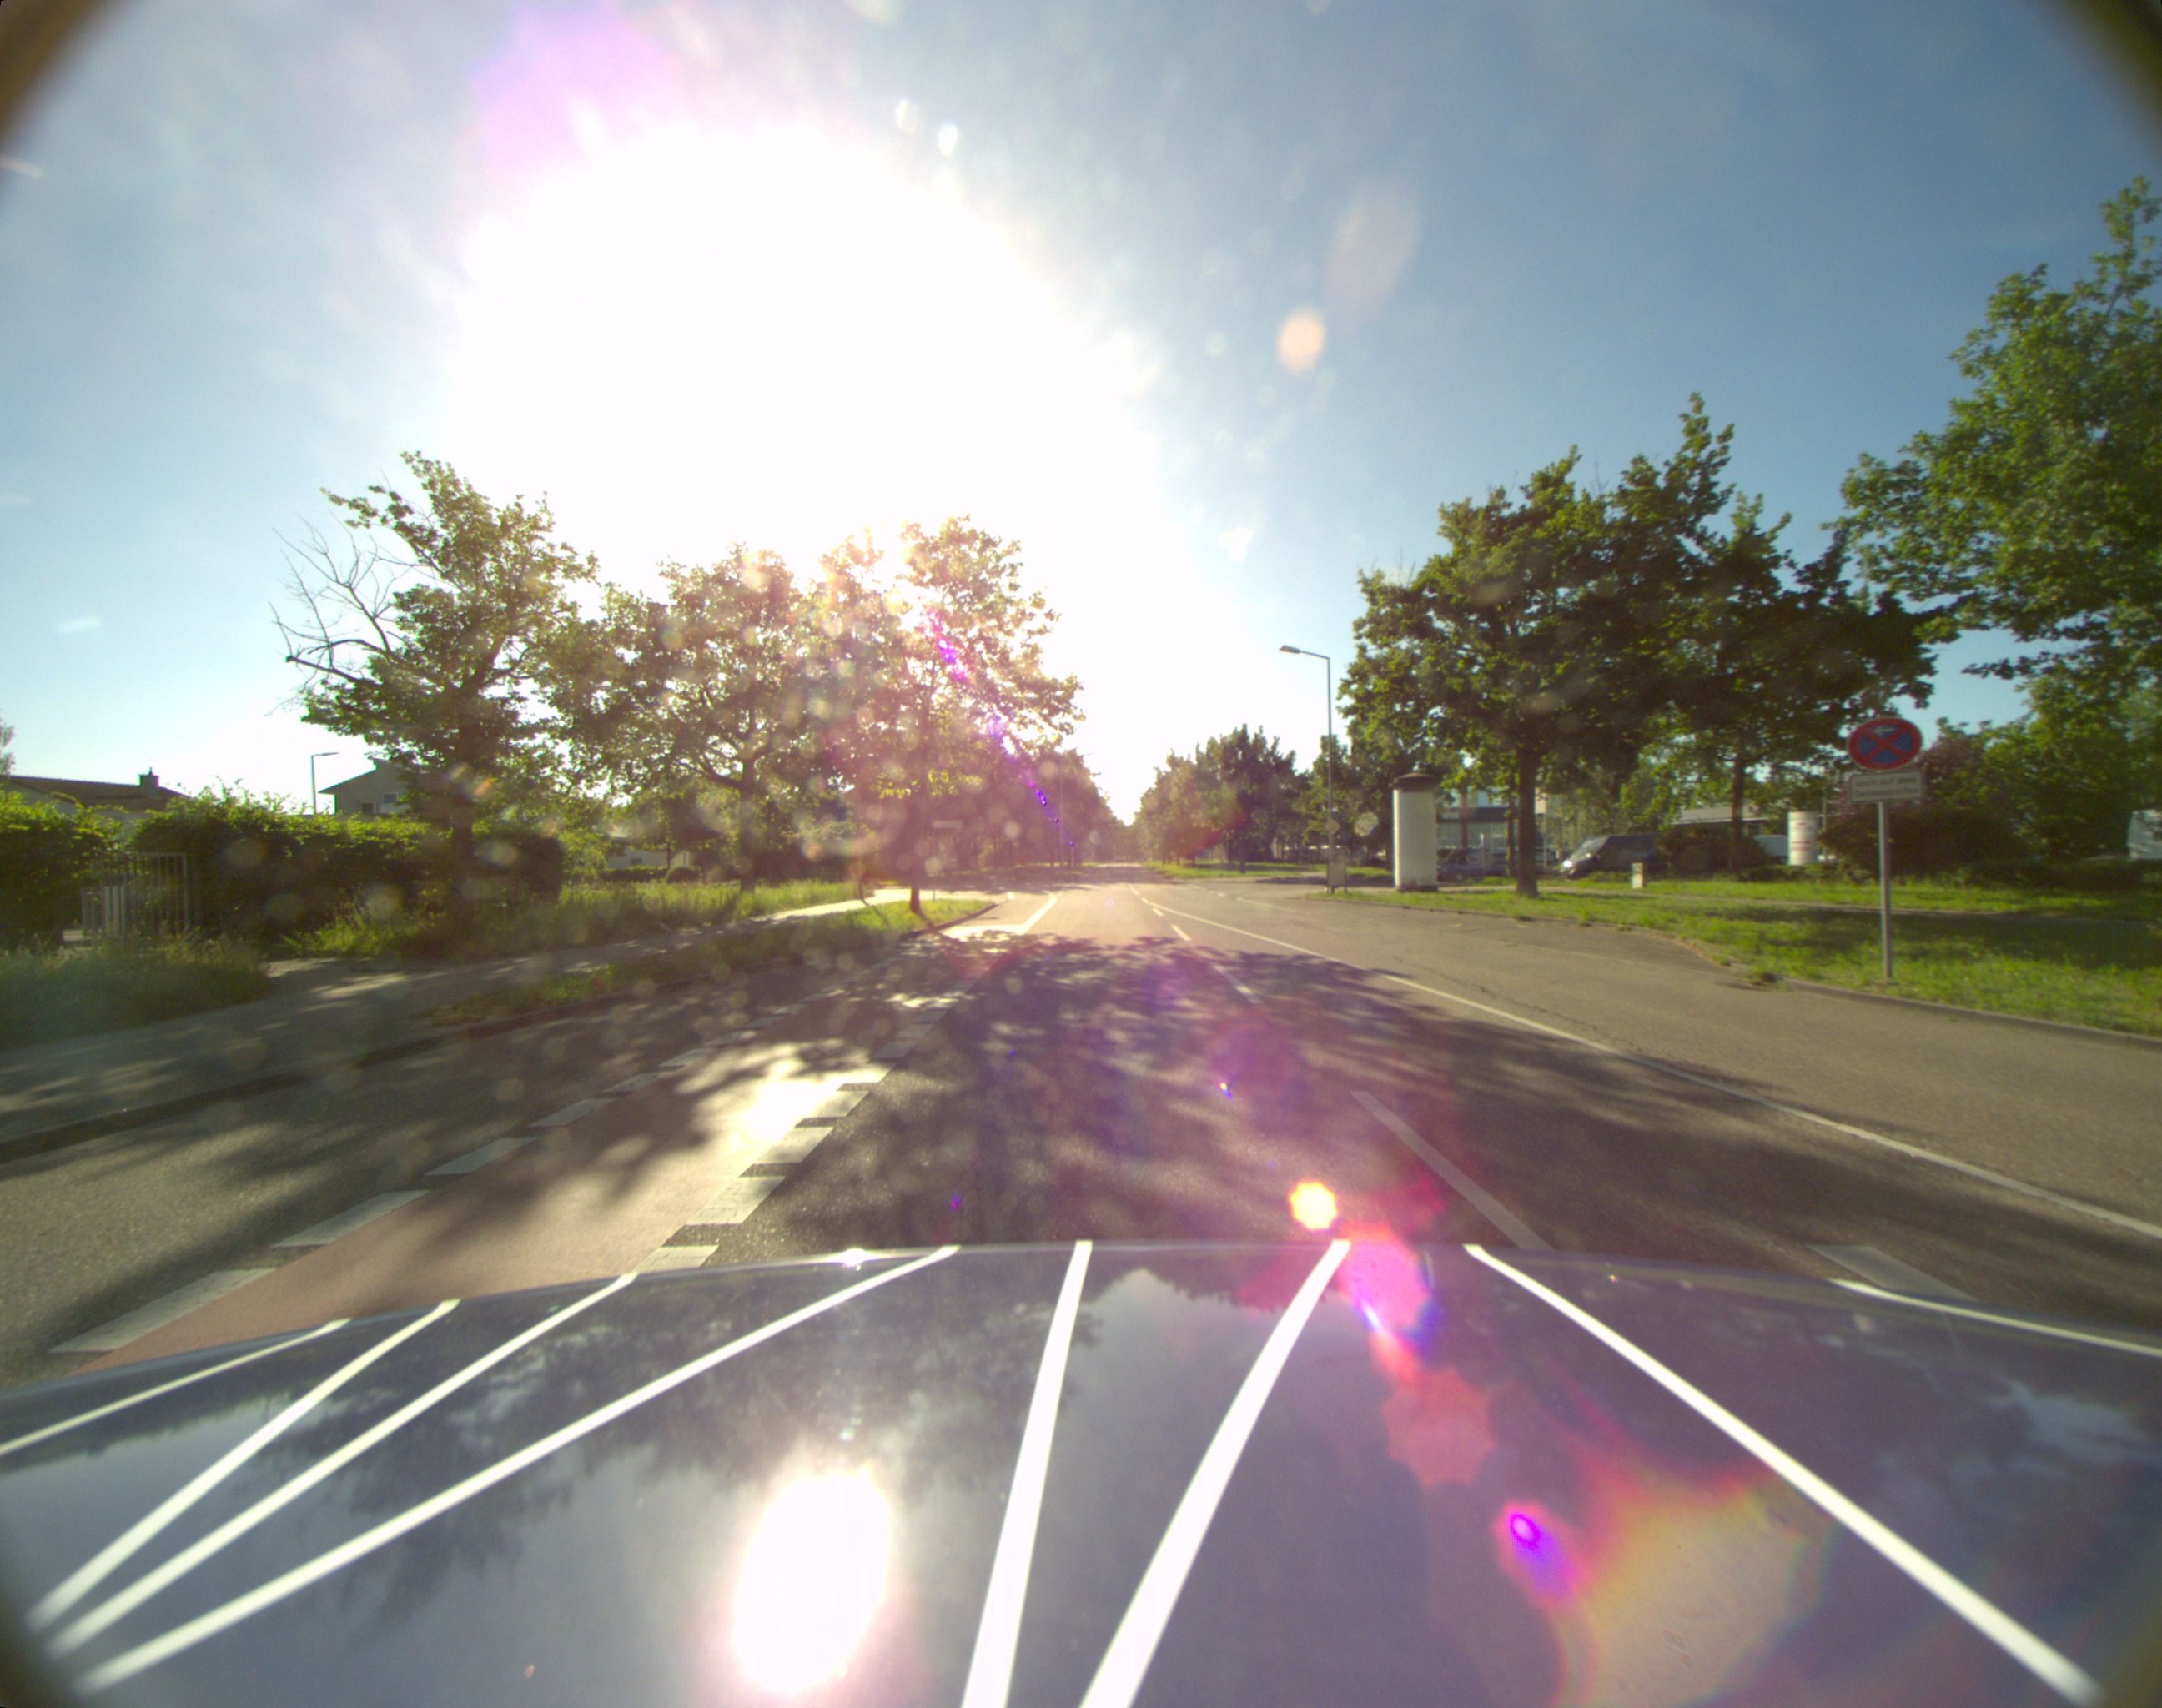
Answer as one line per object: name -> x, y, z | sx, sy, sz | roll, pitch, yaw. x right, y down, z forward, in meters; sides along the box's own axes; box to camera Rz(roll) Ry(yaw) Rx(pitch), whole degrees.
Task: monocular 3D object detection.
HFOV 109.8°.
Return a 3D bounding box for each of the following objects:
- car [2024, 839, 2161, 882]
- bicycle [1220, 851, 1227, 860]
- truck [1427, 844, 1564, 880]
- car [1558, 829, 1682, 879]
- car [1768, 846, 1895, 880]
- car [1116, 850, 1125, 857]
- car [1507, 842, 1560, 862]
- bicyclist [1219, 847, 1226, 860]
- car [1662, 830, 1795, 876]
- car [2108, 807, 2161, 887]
car -> 39.593, 0.226, 29.201 | 4.659, 1.542, 1.885 | -1, 0, -3
bicycle -> 18.116, 0.170, 96.862 | 0.552, 1.155, 2.334 | -2, 1, 3
truck -> 24.633, 0.428, 45.315 | 7.130, 2.038, 2.140 | 0, 1, -3
car -> 32.359, -0.016, 45.732 | 5.878, 2.687, 2.300 | -2, 1, -3
car -> 34.543, 0.424, 35.039 | 4.202, 1.472, 1.824 | 0, -1, -3
car -> 9.116, -0.026, 174.360 | 1.827, 1.477, 3.999 | -2, 1, 0
car -> 38.867, -0.236, 65.420 | 1.999, 1.486, 4.296 | -2, 2, 0
bicyclist -> 18.063, -0.124, 96.902 | 0.665, 1.619, 0.659 | -2, 1, 3
car -> 39.383, -0.088, 46.324 | 6.356, 2.501, 2.300 | -2, 1, -3
car -> 39.767, -0.364, 26.139 | 6.177, 2.687, 2.300 | -2, 1, -3
